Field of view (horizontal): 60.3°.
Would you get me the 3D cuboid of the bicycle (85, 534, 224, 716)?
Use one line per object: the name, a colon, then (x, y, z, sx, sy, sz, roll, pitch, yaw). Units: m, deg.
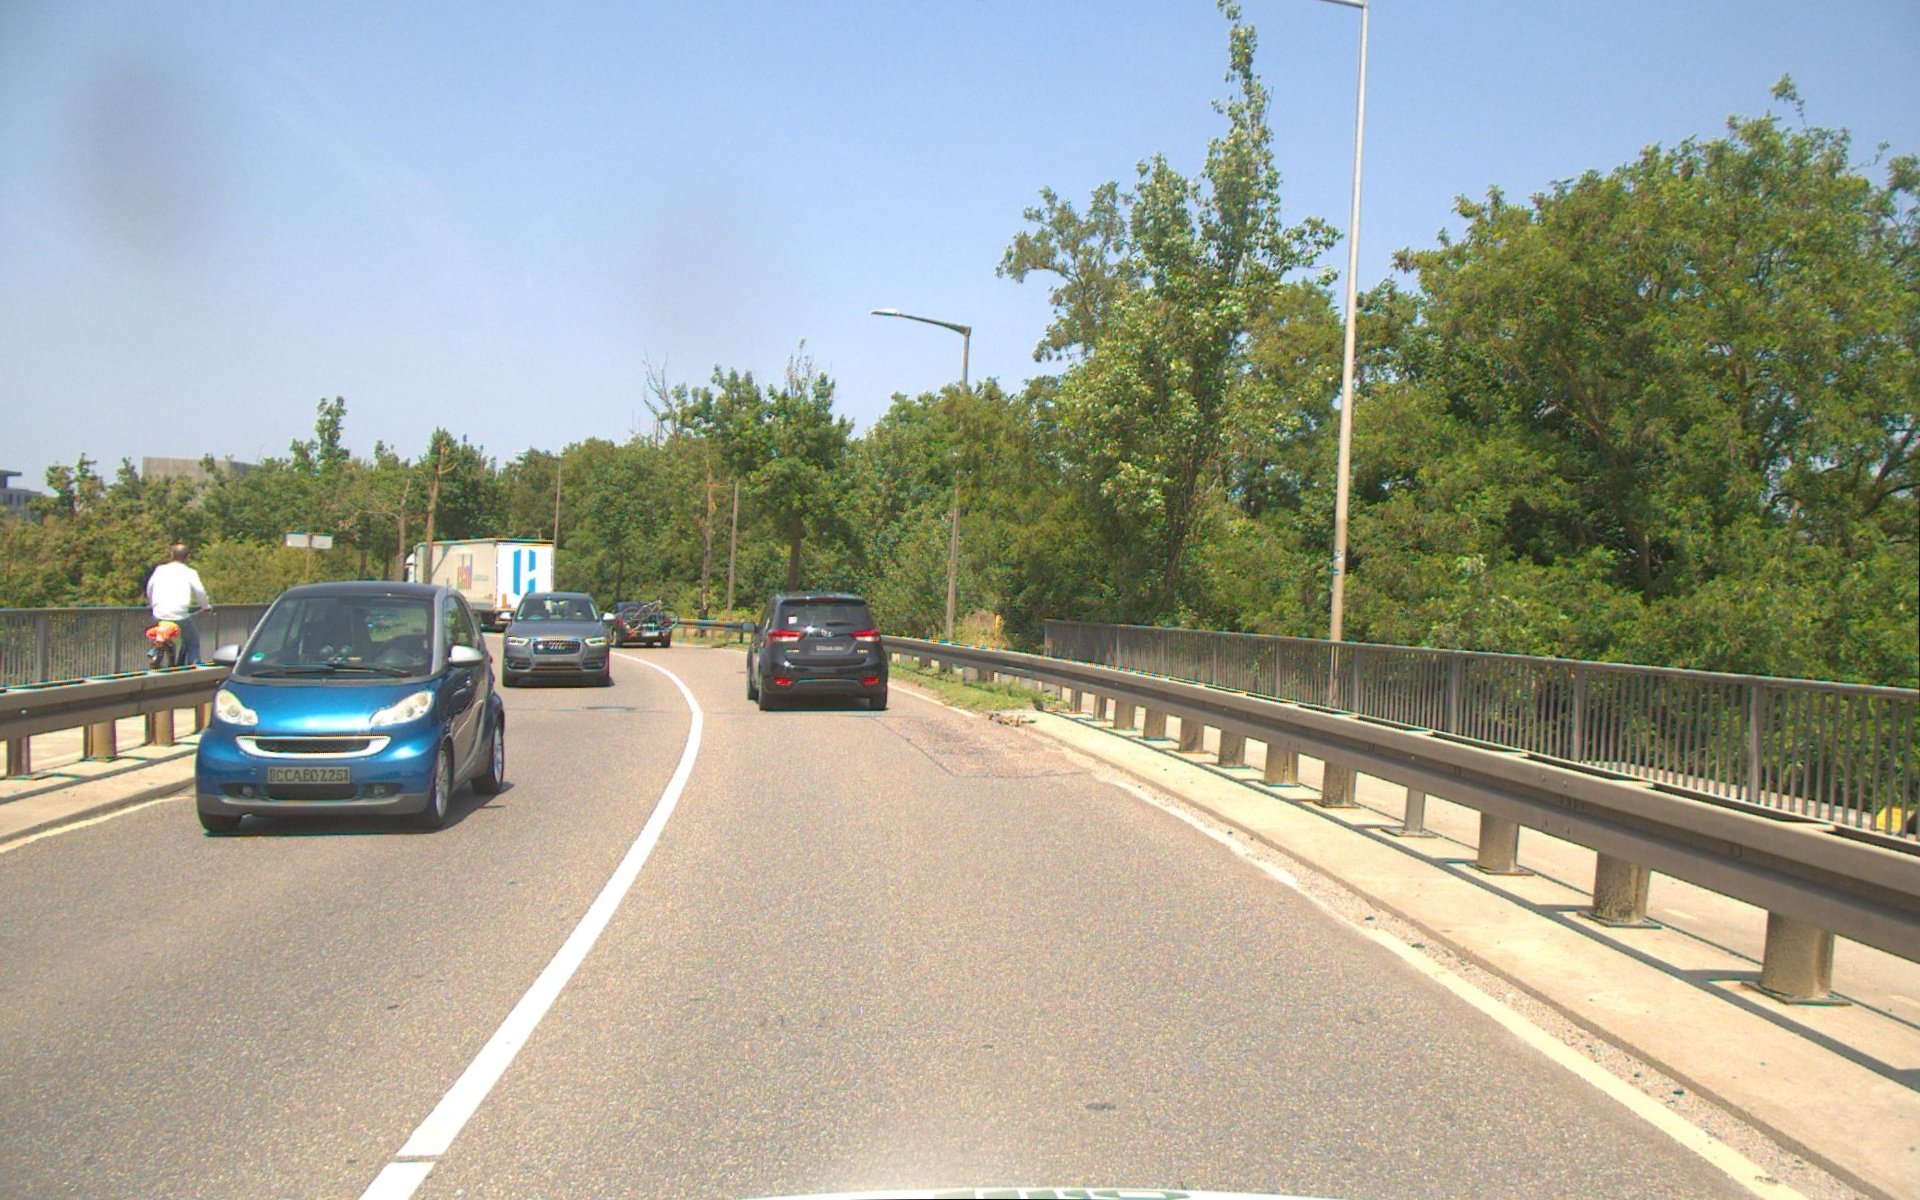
bicycle: (-8.634, 0.233, 17.817, 0.685, 1.833, 2.177, 1, 1, -8)

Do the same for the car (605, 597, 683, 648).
car: (-9.922, 0.692, 51.671, 1.980, 1.454, 3.759, 1, 1, -17)

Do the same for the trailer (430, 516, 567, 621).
trailer: (-21.456, -1.463, 76.326, 3.531, 4.460, 11.330, 1, 1, -29)

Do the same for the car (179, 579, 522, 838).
car: (-3.984, 0.633, 11.224, 1.567, 1.512, 2.744, 1, 1, -7)

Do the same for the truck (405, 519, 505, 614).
truck: (-25.246, -1.654, 82.533, 3.533, 4.518, 6.454, 1, 1, -29)

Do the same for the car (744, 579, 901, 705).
car: (-2.045, 0.534, 23.535, 1.886, 1.601, 3.883, 1, 1, -10)

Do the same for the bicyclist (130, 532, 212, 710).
bicyclist: (-8.712, 0.226, 18.291, 0.612, 1.919, 0.711, 1, 1, -9)

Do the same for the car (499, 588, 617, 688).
car: (-7.002, 0.612, 29.135, 1.790, 1.563, 4.184, 1, 1, -11)

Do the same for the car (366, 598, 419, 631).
car: (-26.883, 0.665, 78.313, 1.658, 1.468, 4.088, 0, 0, -30)
